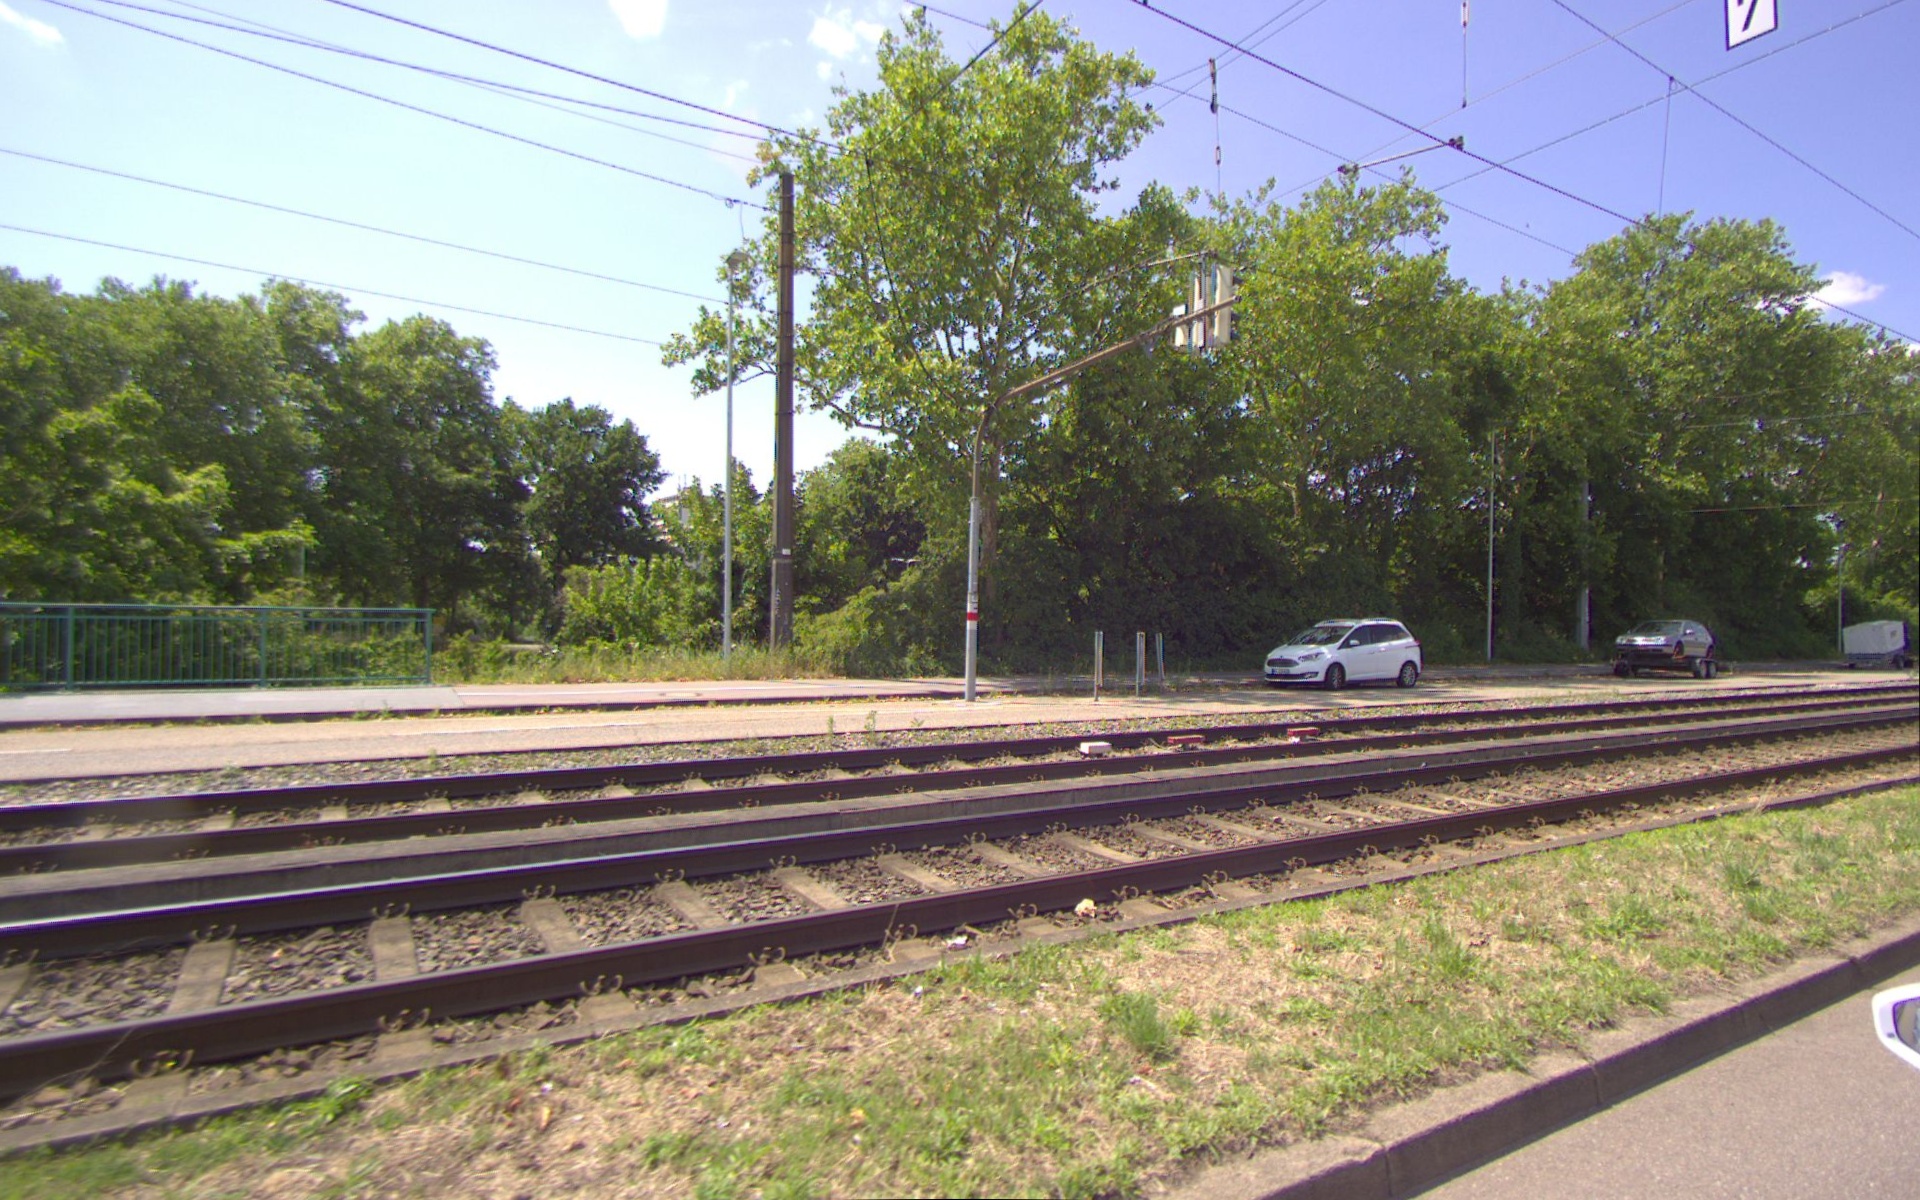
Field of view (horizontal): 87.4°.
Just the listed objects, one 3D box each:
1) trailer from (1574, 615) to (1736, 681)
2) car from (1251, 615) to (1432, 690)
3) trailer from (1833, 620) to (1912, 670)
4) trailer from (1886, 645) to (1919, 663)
[{"bbox_3d":[22.528,1.510,32.482,5.903,1.914,2.445,2,0,-35],"label":"trailer"},{"bbox_3d":[9.356,1.227,24.528,4.565,1.652,1.711,0,-2,-32],"label":"car"},{"bbox_3d":[39.519,1.913,43.471,3.875,2.041,1.599,1,1,-34],"label":"trailer"},{"bbox_3d":[44.635,2.535,46.226,3.955,0.752,1.983,3,-1,-31],"label":"trailer"}]
